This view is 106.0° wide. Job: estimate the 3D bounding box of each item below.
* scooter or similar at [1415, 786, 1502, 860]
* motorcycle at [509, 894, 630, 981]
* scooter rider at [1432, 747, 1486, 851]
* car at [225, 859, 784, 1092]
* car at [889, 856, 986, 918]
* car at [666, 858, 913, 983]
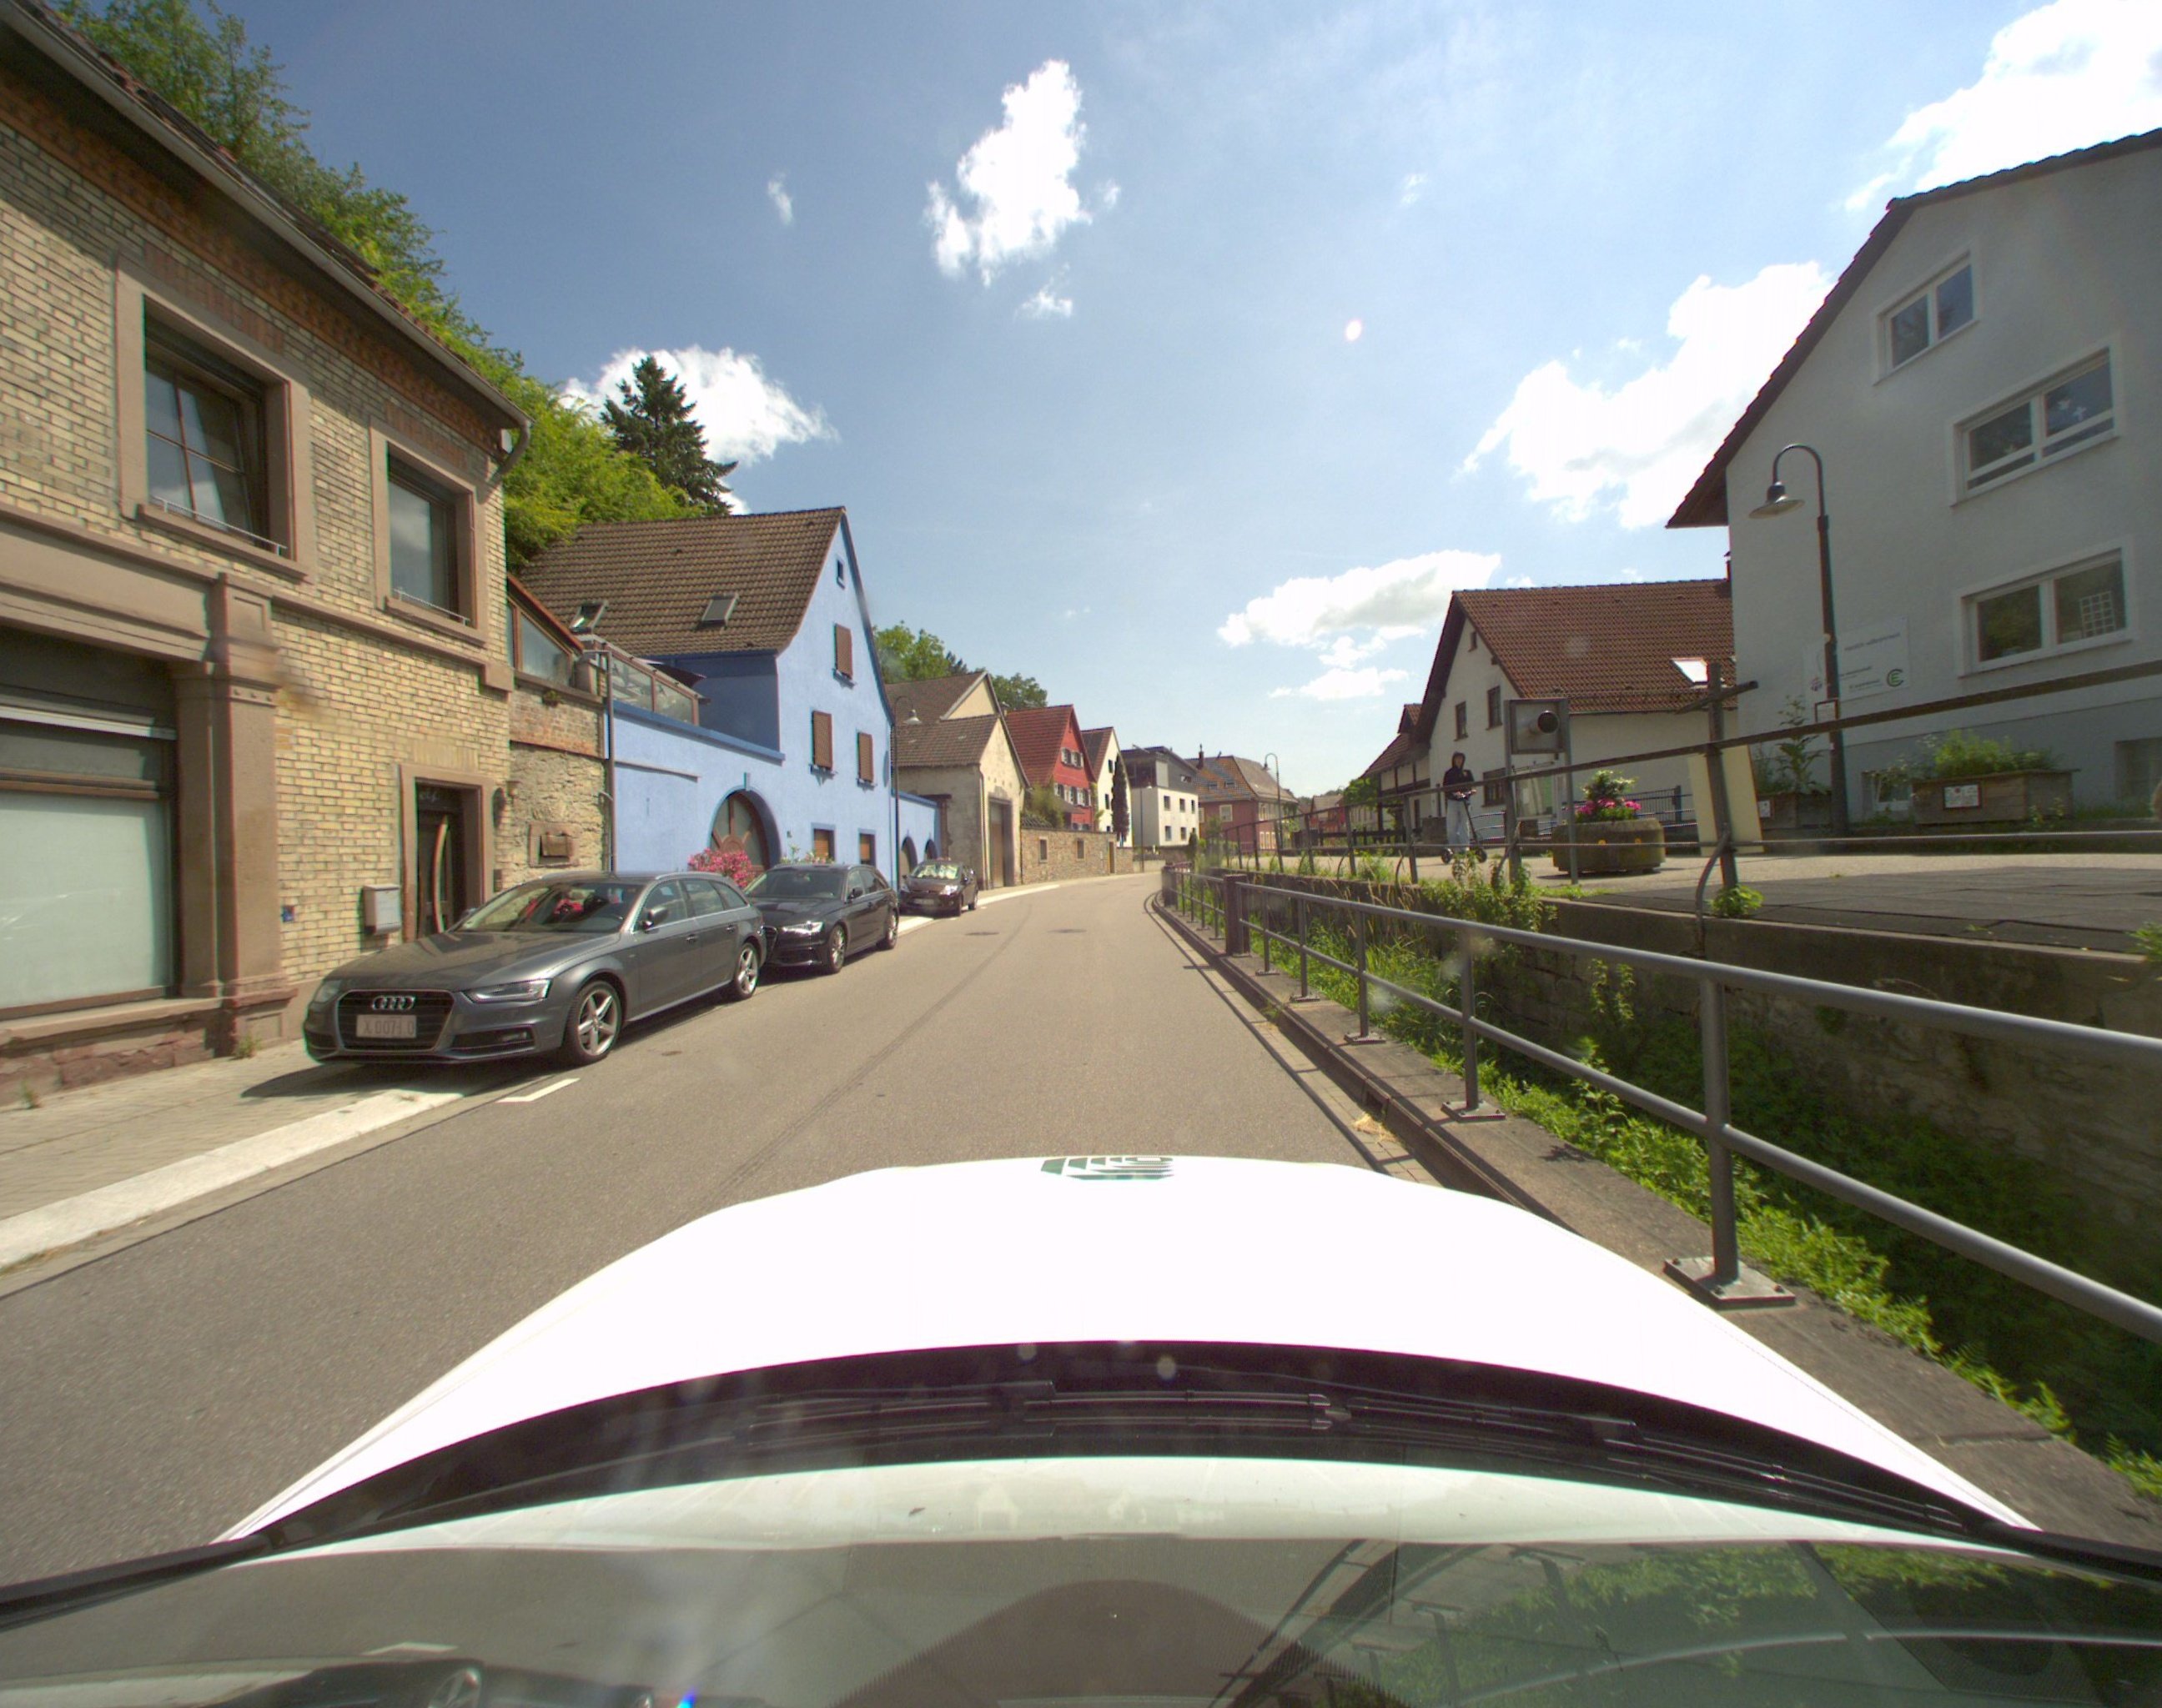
[{"bbox_3d":[6.455,-0.491,14.023,0.639,1.142,1.812,-3,-1,2],"label":"scooter or similar"},{"bbox_3d":[-6.870,1.083,11.044,0.416,1.001,1.858,3,-1,0],"label":"motorcycle"},{"bbox_3d":[6.472,-0.921,13.974,0.639,1.732,0.554,-1,-1,1],"label":"scooter rider"},{"bbox_3d":[-4.597,0.832,7.597,1.950,1.466,4.545,-1,-1,0],"label":"car"},{"bbox_3d":[-3.909,0.861,22.804,1.709,1.530,3.860,2,0,4],"label":"car"},{"bbox_3d":[-4.093,0.831,12.406,1.877,1.464,4.671,1,0,2],"label":"car"}]
